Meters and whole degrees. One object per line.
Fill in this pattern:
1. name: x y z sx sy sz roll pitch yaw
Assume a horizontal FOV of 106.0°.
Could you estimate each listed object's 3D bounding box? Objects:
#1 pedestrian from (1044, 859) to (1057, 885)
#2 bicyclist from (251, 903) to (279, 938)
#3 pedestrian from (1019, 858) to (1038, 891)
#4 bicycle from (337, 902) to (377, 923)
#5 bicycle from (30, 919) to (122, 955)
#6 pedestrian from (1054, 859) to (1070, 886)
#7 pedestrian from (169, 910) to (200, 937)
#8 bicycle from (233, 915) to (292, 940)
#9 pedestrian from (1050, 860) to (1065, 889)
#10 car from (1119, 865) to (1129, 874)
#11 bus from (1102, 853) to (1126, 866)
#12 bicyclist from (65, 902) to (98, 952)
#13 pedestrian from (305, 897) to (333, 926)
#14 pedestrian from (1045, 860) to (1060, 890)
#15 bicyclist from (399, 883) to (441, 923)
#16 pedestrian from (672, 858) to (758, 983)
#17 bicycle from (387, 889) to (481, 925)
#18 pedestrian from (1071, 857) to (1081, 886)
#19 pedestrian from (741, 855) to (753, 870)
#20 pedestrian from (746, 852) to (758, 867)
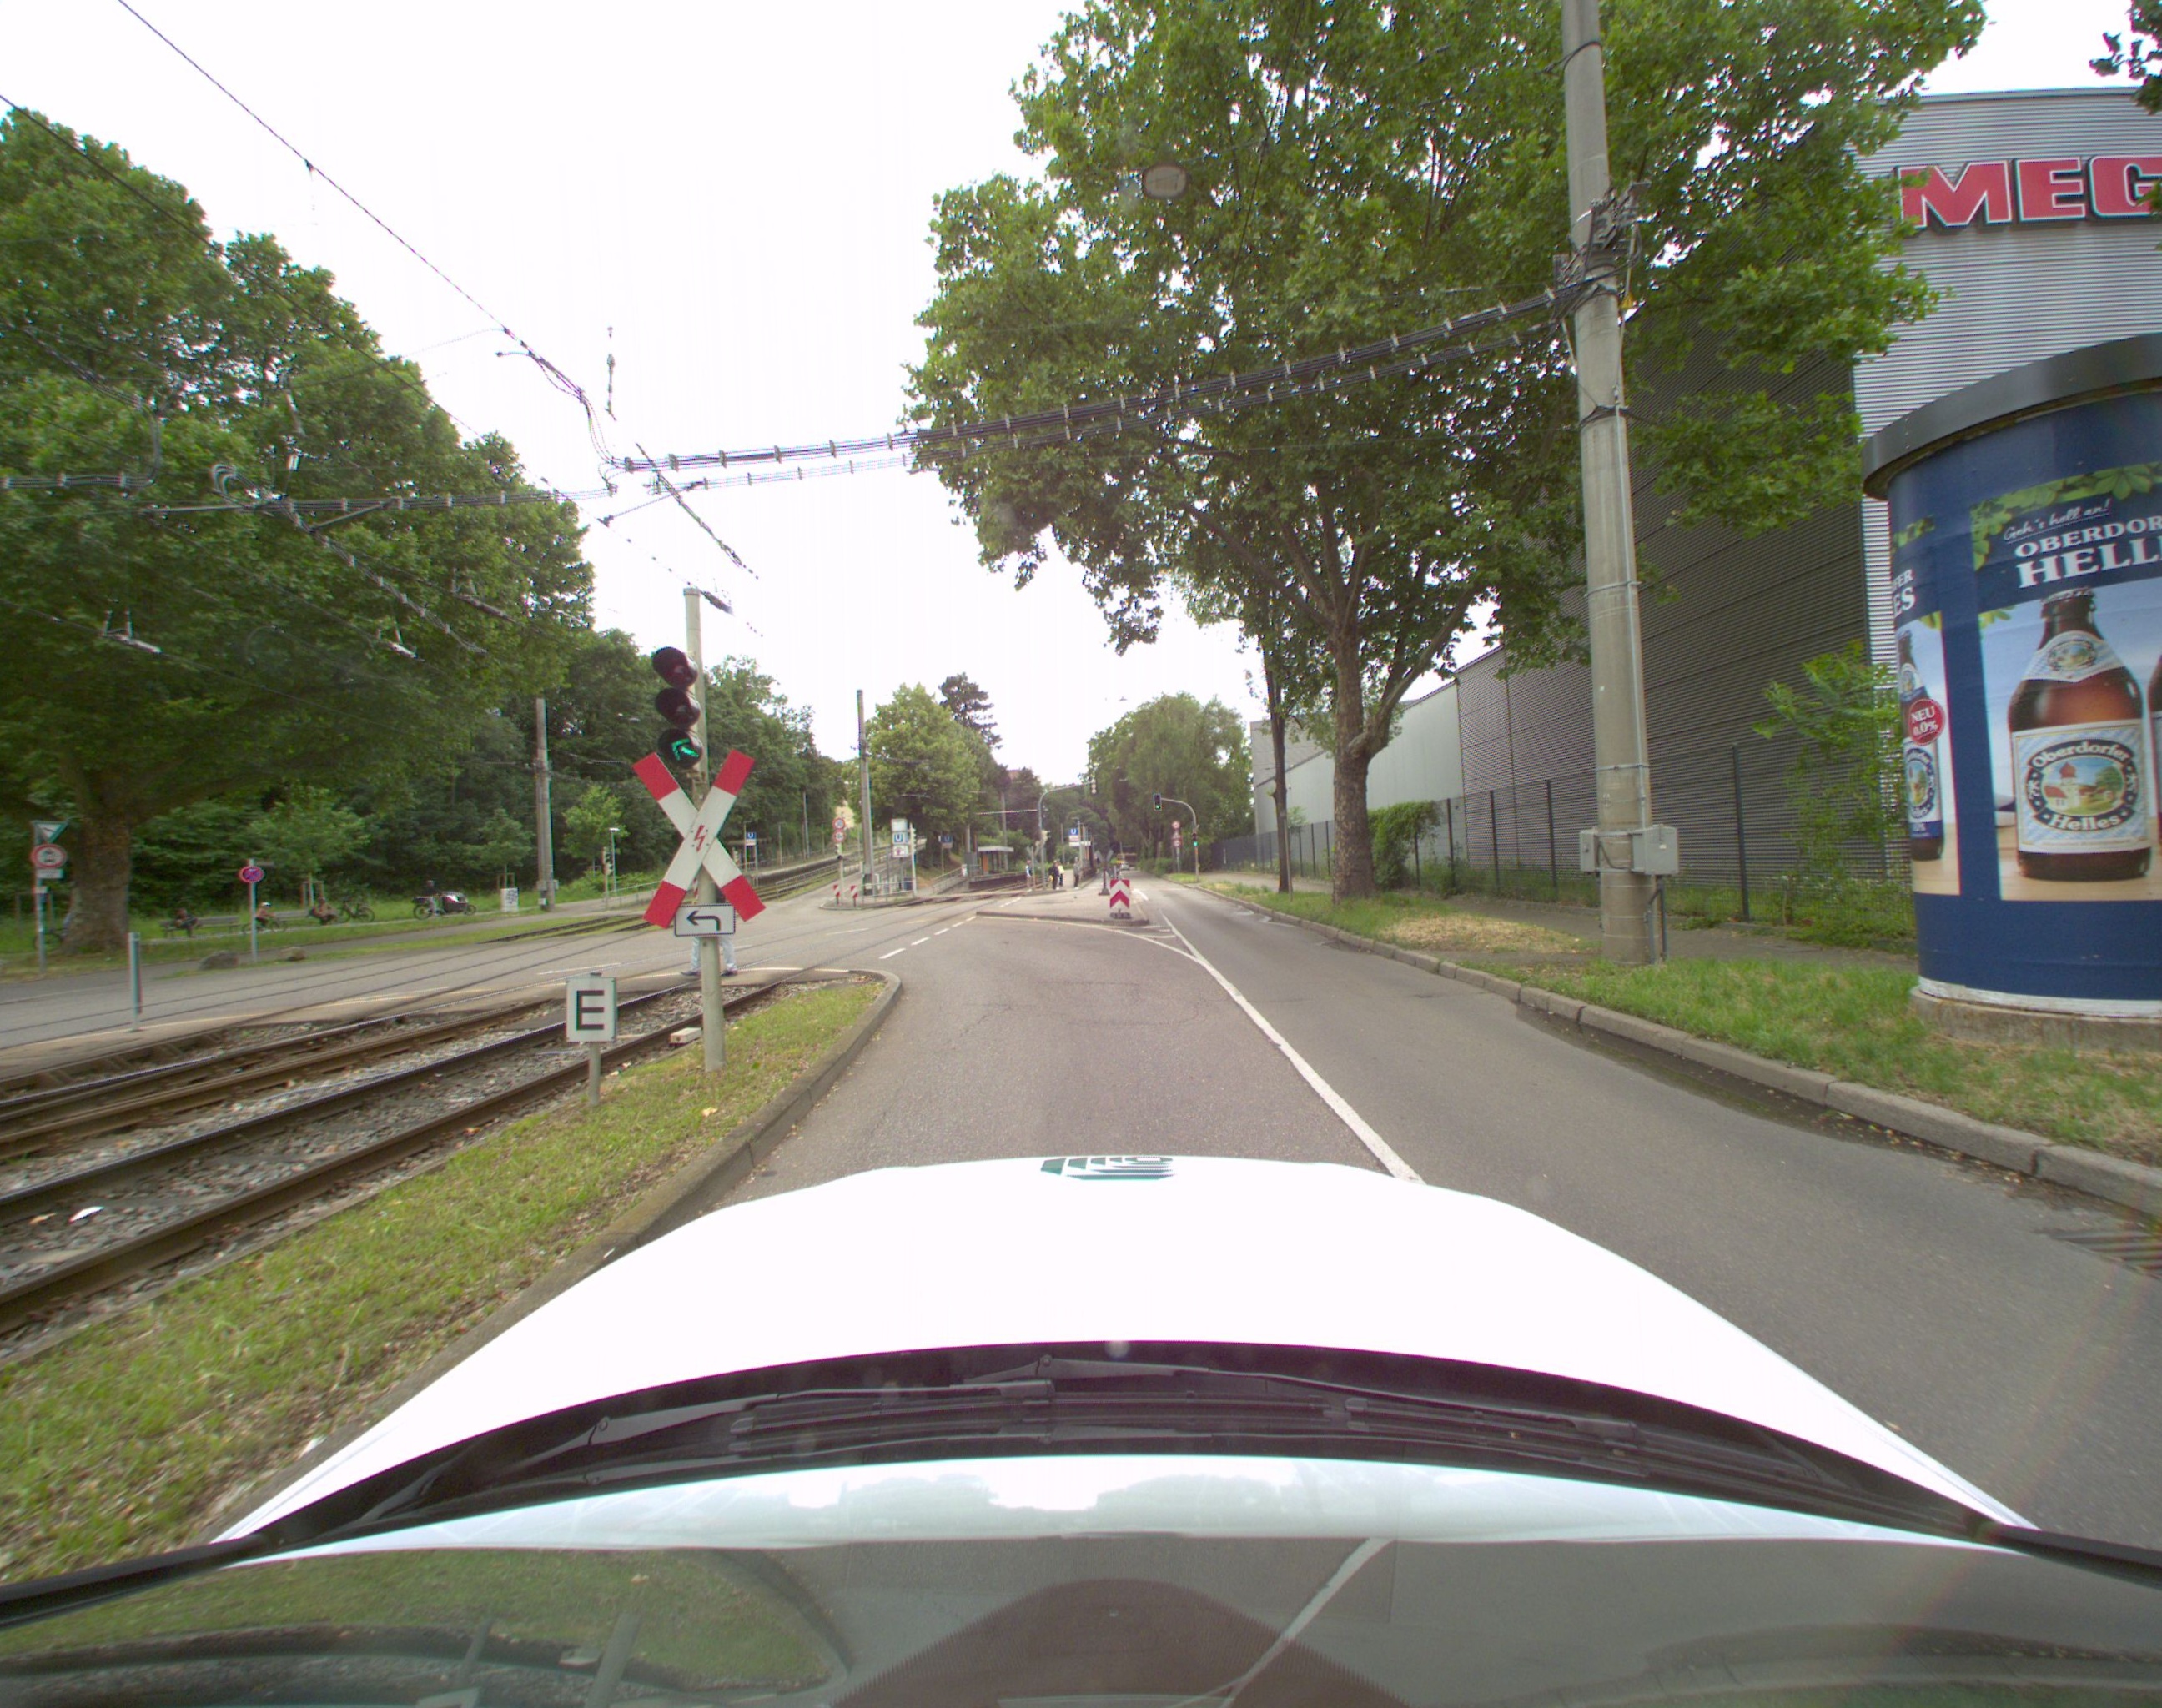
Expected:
1. pedestrian: -1.958 1.164 52.476 0.735 1.665 0.680 0 -1 -9
2. bicyclist: -32.713 2.651 32.651 0.450 1.301 0.584 1 4 19
3. pedestrian: -2.968 1.159 46.230 0.662 1.821 0.810 -1 -2 44
4. bicycle: -33.083 2.679 37.199 1.726 0.885 0.625 -1 -1 21
5. bicycle: -35.225 2.887 28.574 0.469 1.041 1.957 1 2 27
6. pedestrian: -1.198 1.132 51.046 0.673 1.665 0.742 -1 -1 41
7. pedestrian: -35.169 2.717 31.959 0.526 0.989 0.623 -1 -1 17
8. bicycle: -32.743 2.933 32.602 0.450 0.738 1.567 1 4 20
9. pedestrian: -1.403 1.218 48.333 0.674 1.665 0.741 -1 -1 17
10. car: 7.957 2.821 150.816 1.737 1.599 4.002 1 -1 2
11. bus: 8.981 1.502 221.921 2.708 3.626 8.997 -1 -1 30
12. bicyclist: -35.176 2.559 28.656 0.469 1.674 0.627 1 1 28
13. pedestrian: -33.487 2.513 35.773 0.574 1.235 0.676 -1 -1 15
14. pedestrian: -1.592 1.173 45.722 0.732 1.665 0.682 0 -1 3
15. bicyclist: -30.533 2.256 37.633 0.726 1.711 1.301 2 3 32
16. pedestrian: -5.468 0.941 12.165 1.107 1.760 0.818 -2 -1 44
17. bicycle: -30.228 2.440 38.124 0.726 1.289 3.368 2 3 32
18. pedestrian: -0.291 1.076 49.471 0.547 1.758 0.739 0 -1 6
19. pedestrian: -30.423 0.730 74.244 0.771 1.326 0.785 0 1 -6
20. pedestrian: -30.426 0.524 75.345 0.771 1.326 0.785 0 -1 -6
